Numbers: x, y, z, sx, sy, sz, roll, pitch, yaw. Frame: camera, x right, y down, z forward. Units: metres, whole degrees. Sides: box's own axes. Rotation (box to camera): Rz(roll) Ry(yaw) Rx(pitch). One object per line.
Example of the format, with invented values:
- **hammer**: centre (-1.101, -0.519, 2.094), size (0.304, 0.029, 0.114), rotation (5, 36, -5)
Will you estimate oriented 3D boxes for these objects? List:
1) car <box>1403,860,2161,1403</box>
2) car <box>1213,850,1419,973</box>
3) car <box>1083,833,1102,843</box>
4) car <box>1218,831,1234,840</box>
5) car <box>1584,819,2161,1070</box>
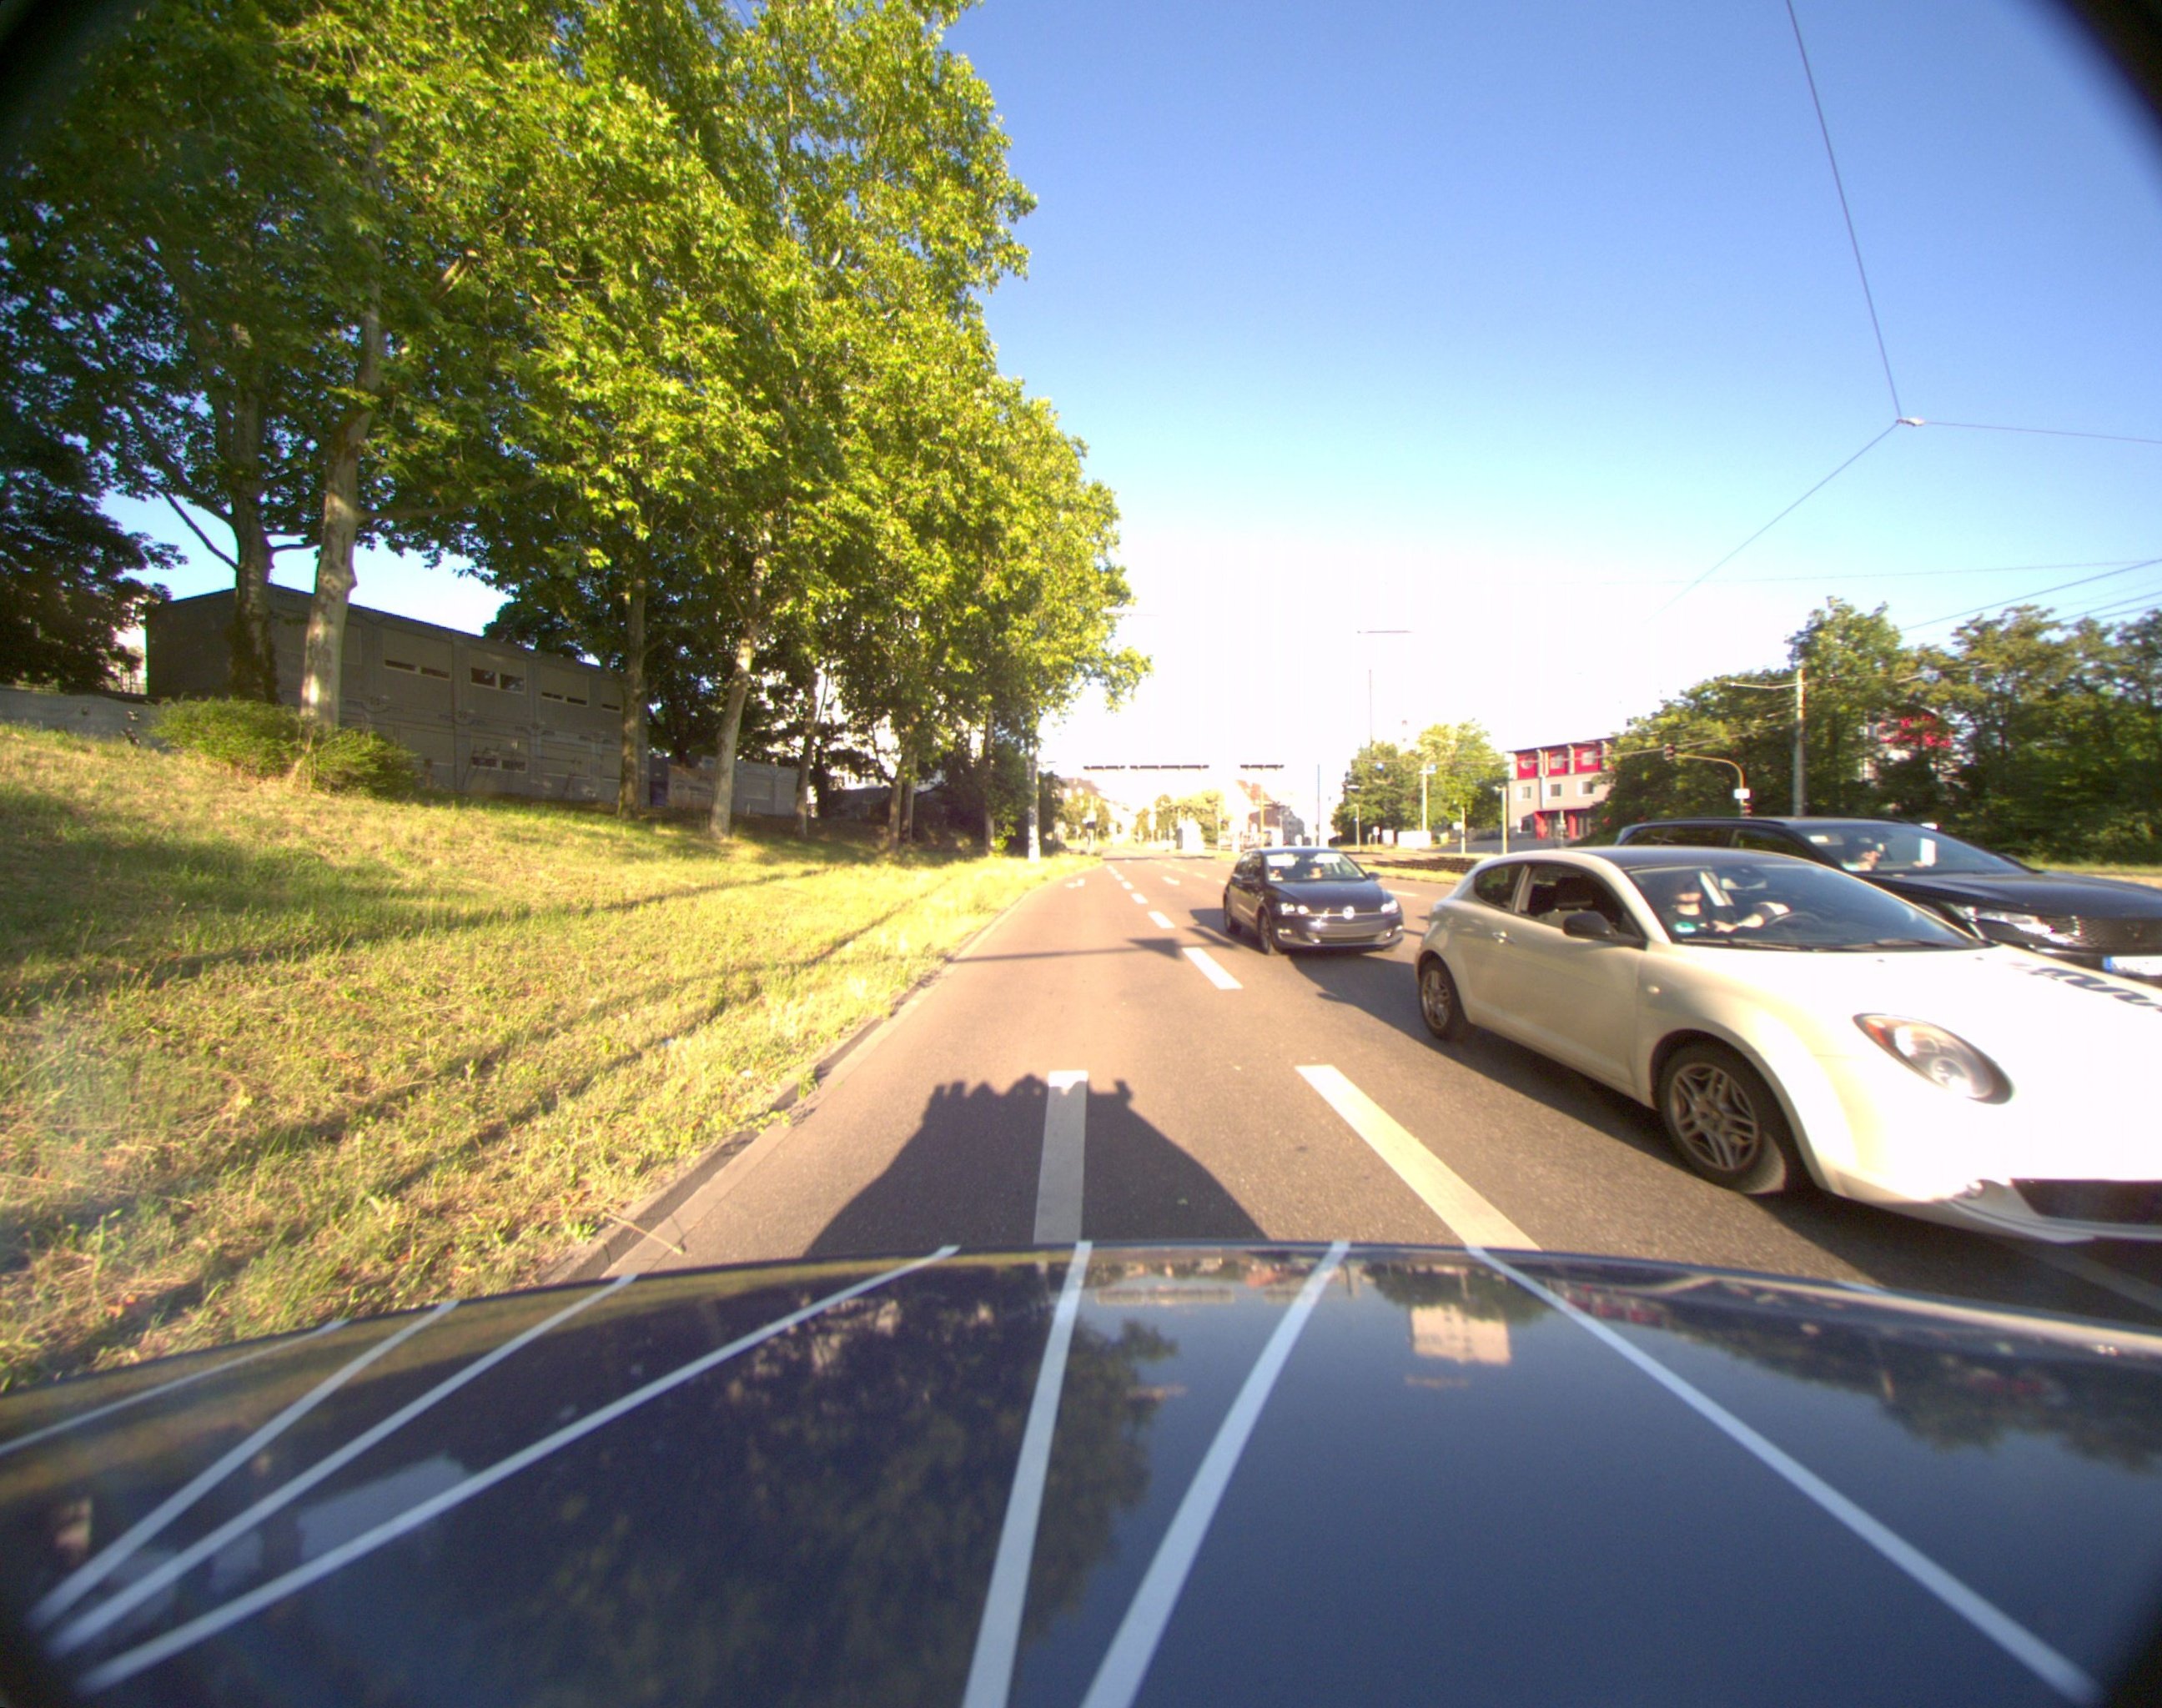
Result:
- **car**: centre (3.434, 0.809, 4.124), size (1.665, 1.422, 3.923), rotation (-1, 1, -1)
- **car**: centre (3.213, 0.694, 11.225), size (1.782, 1.422, 3.923), rotation (-1, 1, -1)
- **car**: centre (2.238, -3.146, 145.744), size (1.995, 1.807, 4.007), rotation (-1, 1, 31)
- **car**: centre (31.617, -4.035, 165.842), size (1.994, 2.002, 4.007), rotation (-1, 2, 33)
- **car**: centre (7.240, 0.556, 7.290), size (1.920, 1.639, 4.601), rotation (-1, 1, 2)
